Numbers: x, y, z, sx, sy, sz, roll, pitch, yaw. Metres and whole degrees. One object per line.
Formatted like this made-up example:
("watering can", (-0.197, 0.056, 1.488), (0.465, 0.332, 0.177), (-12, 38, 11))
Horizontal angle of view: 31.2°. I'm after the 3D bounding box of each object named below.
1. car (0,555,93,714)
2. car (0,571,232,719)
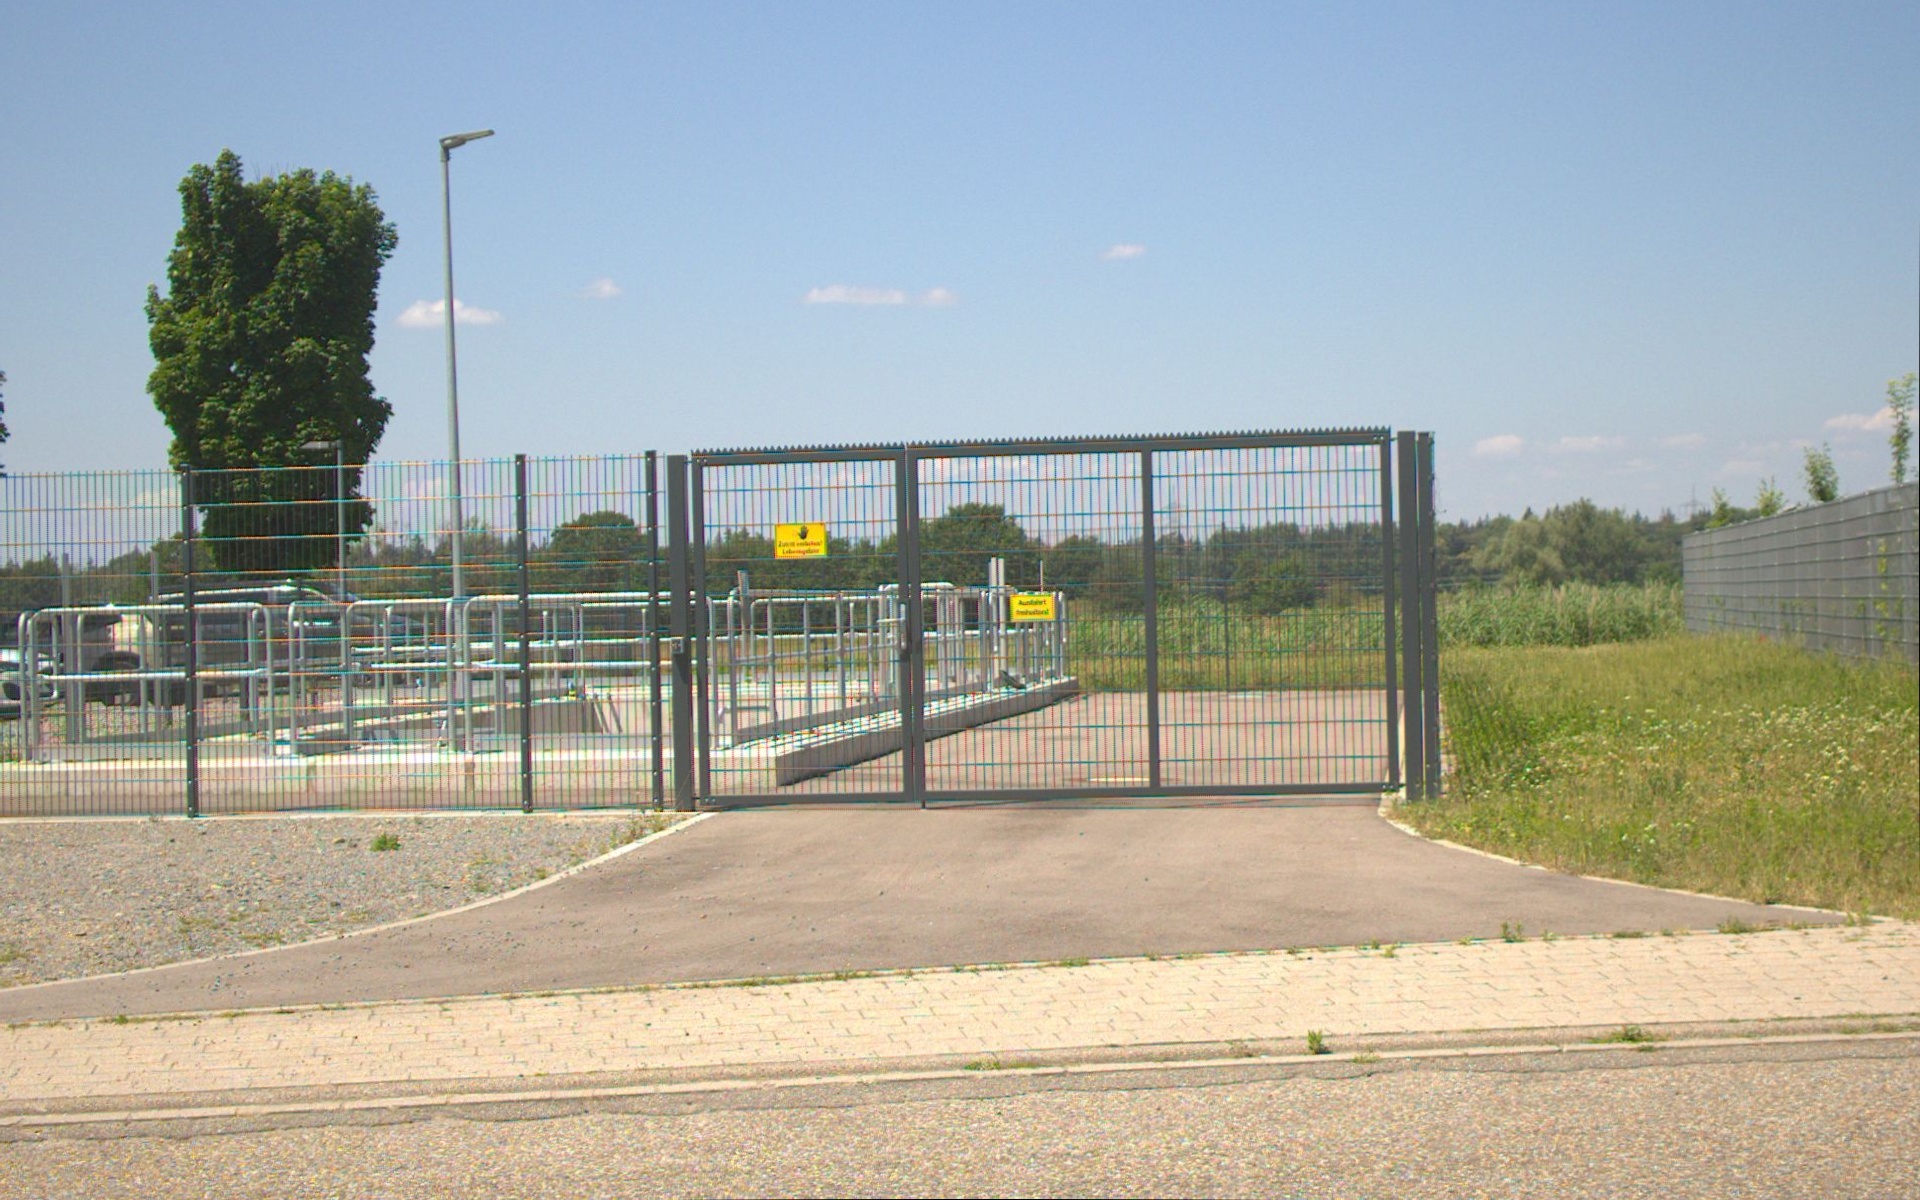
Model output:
("car", (-13.666, 0.478, 45.008), (3.988, 2.007, 1.999), (-2, 0, 9))
("car", (-12.666, 0.639, 48.948), (3.988, 2.007, 1.999), (-2, 0, 9))
